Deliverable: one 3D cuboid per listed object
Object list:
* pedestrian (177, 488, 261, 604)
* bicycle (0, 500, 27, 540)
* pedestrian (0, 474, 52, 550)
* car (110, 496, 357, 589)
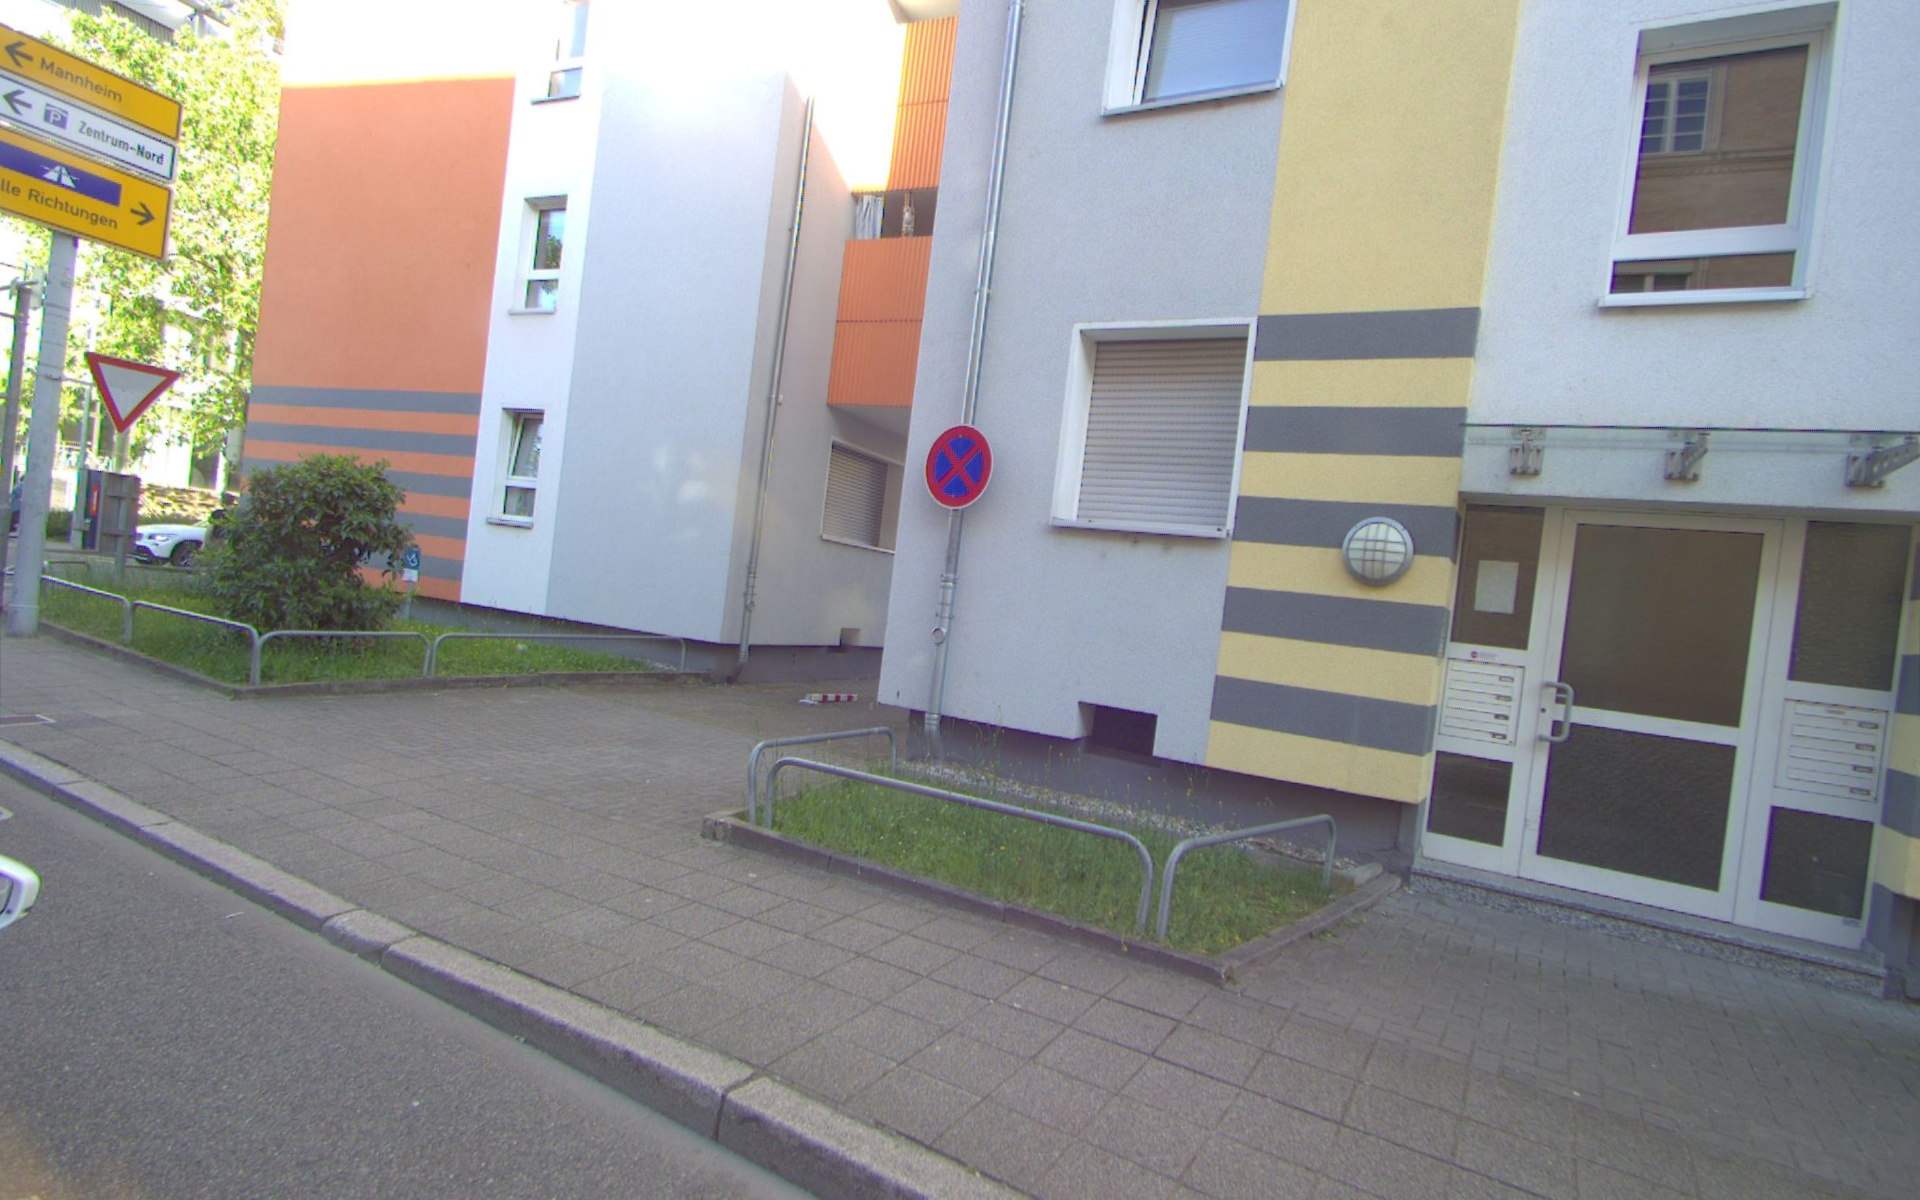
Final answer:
[{"bbox_3d":[-12.555,-0.899,17.069,0.690,1.831,0.719,7,-1,-9],"label":"pedestrian"},{"bbox_3d":[-26.407,-2.234,27.392,1.409,1.021,0.379,7,1,-11],"label":"bicycle"},{"bbox_3d":[-24.767,-2.315,26.506,0.906,1.837,0.758,8,-1,-25],"label":"pedestrian"},{"bbox_3d":[-17.091,-1.300,23.925,1.688,1.532,4.367,7,-1,27],"label":"car"}]
